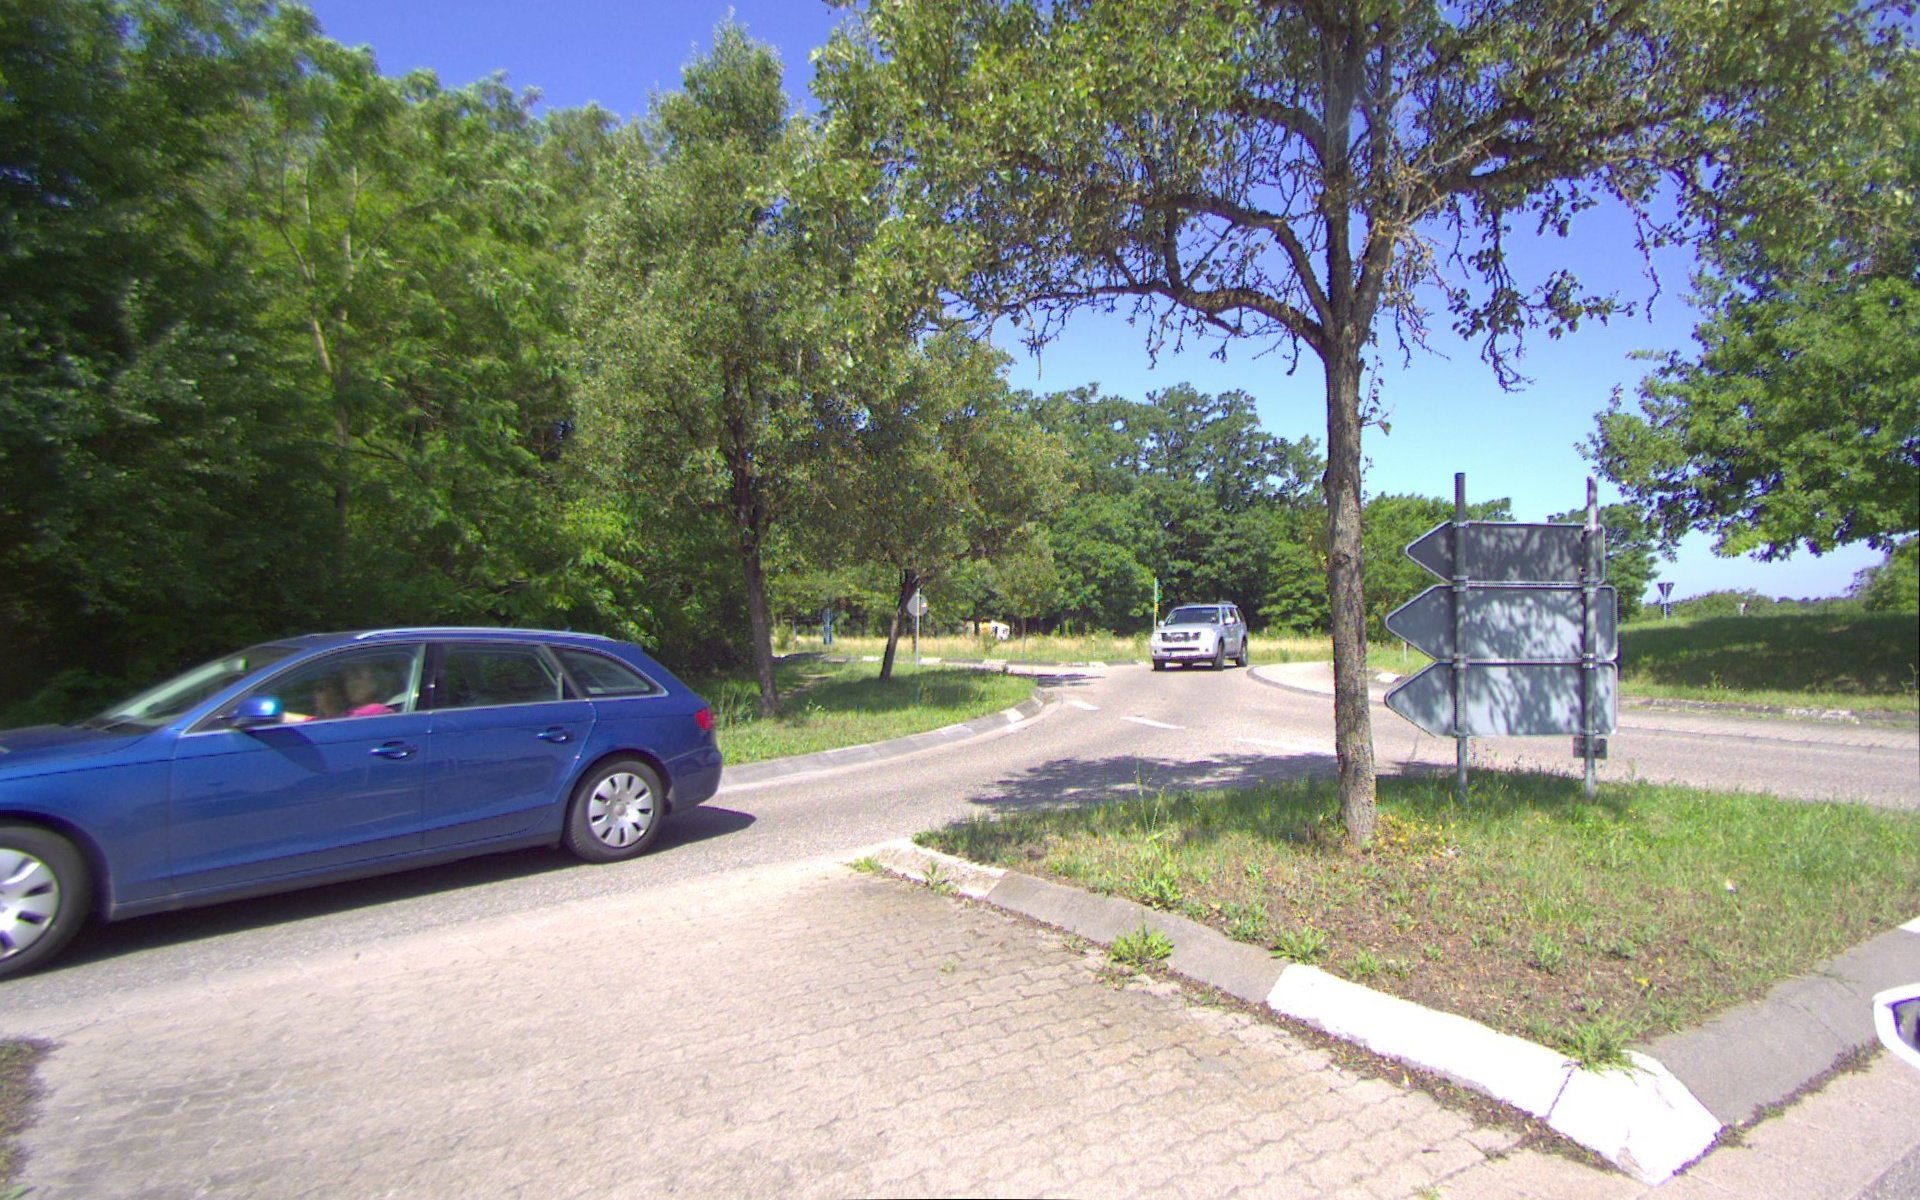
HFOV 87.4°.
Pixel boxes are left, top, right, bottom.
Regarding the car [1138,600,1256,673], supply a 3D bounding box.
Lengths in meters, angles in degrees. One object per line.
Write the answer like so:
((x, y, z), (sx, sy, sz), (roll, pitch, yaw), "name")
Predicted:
((6.603, 0.998, 27.569), (1.866, 1.839, 4.587), (-1, -2, 31), "car")

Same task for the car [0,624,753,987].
((-3.478, 0.852, 5.642), (1.811, 1.405, 4.404), (-2, -2, 39), "car")
